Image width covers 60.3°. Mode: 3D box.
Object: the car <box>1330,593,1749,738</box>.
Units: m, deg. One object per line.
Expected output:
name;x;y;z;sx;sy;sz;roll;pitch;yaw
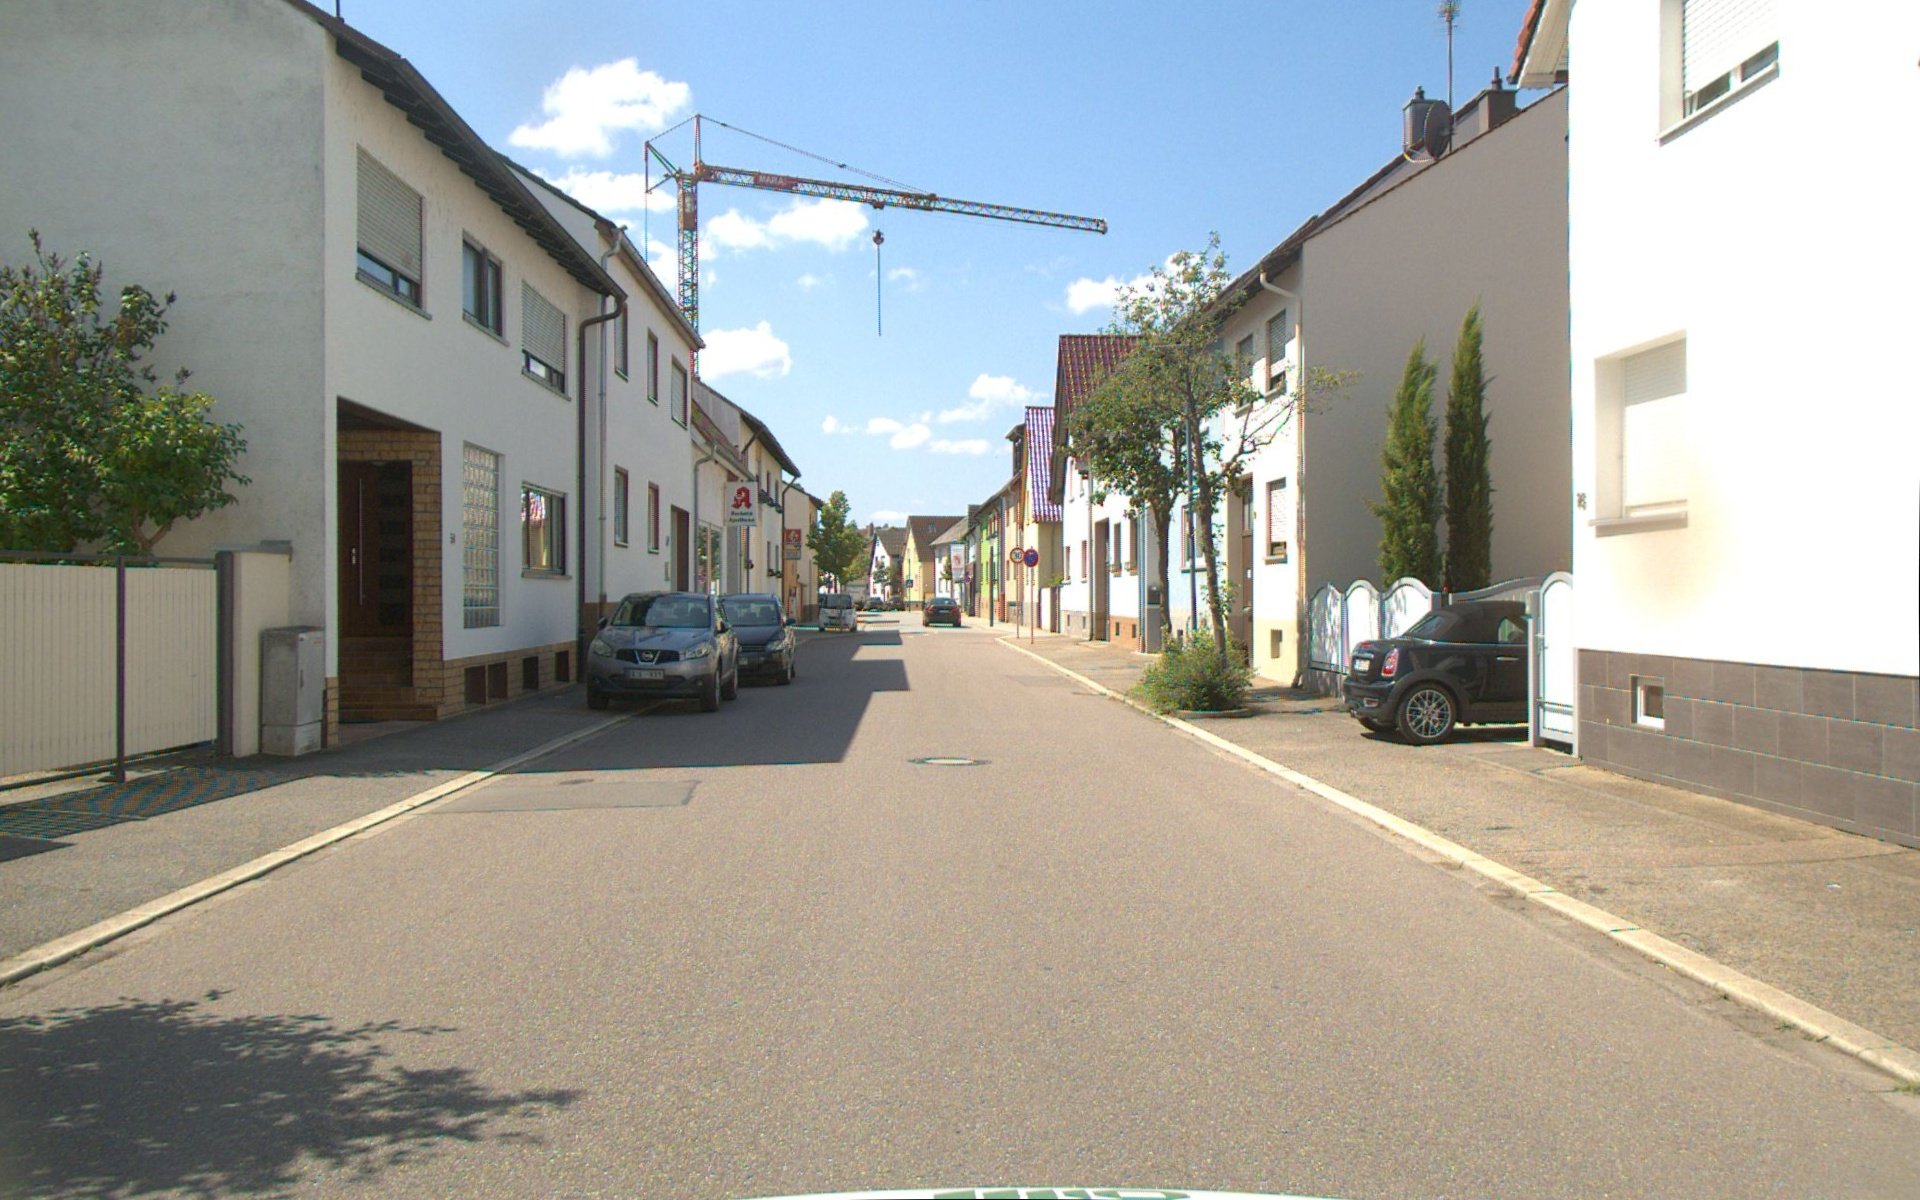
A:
car;6.059;0.656;17.577;3.843;1.439;1.740;0;0;-1

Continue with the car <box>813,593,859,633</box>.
car;-5.192;0.533;69.575;1.688;1.583;4.171;1;0;-1

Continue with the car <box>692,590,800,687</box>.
car;-3.842;0.655;30.260;1.620;1.637;4.059;0;0;-3

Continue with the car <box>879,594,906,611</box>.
car;-7.174;0.316;176.387;1.755;1.784;4.206;-1;0;-18

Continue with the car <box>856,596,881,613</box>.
car;-10.337;0.524;185.837;1.793;1.784;4.207;-1;0;-18

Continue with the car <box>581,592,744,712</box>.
car;-4.141;0.669;23.632;1.723;1.551;4.287;0;0;-3

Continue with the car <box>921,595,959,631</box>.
car;-1.036;0.653;83.716;1.747;1.784;3.997;-1;0;-3

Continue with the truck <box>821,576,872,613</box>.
truck;-12.687;-0.576;183.212;3.321;3.933;13.875;-1;0;-14
